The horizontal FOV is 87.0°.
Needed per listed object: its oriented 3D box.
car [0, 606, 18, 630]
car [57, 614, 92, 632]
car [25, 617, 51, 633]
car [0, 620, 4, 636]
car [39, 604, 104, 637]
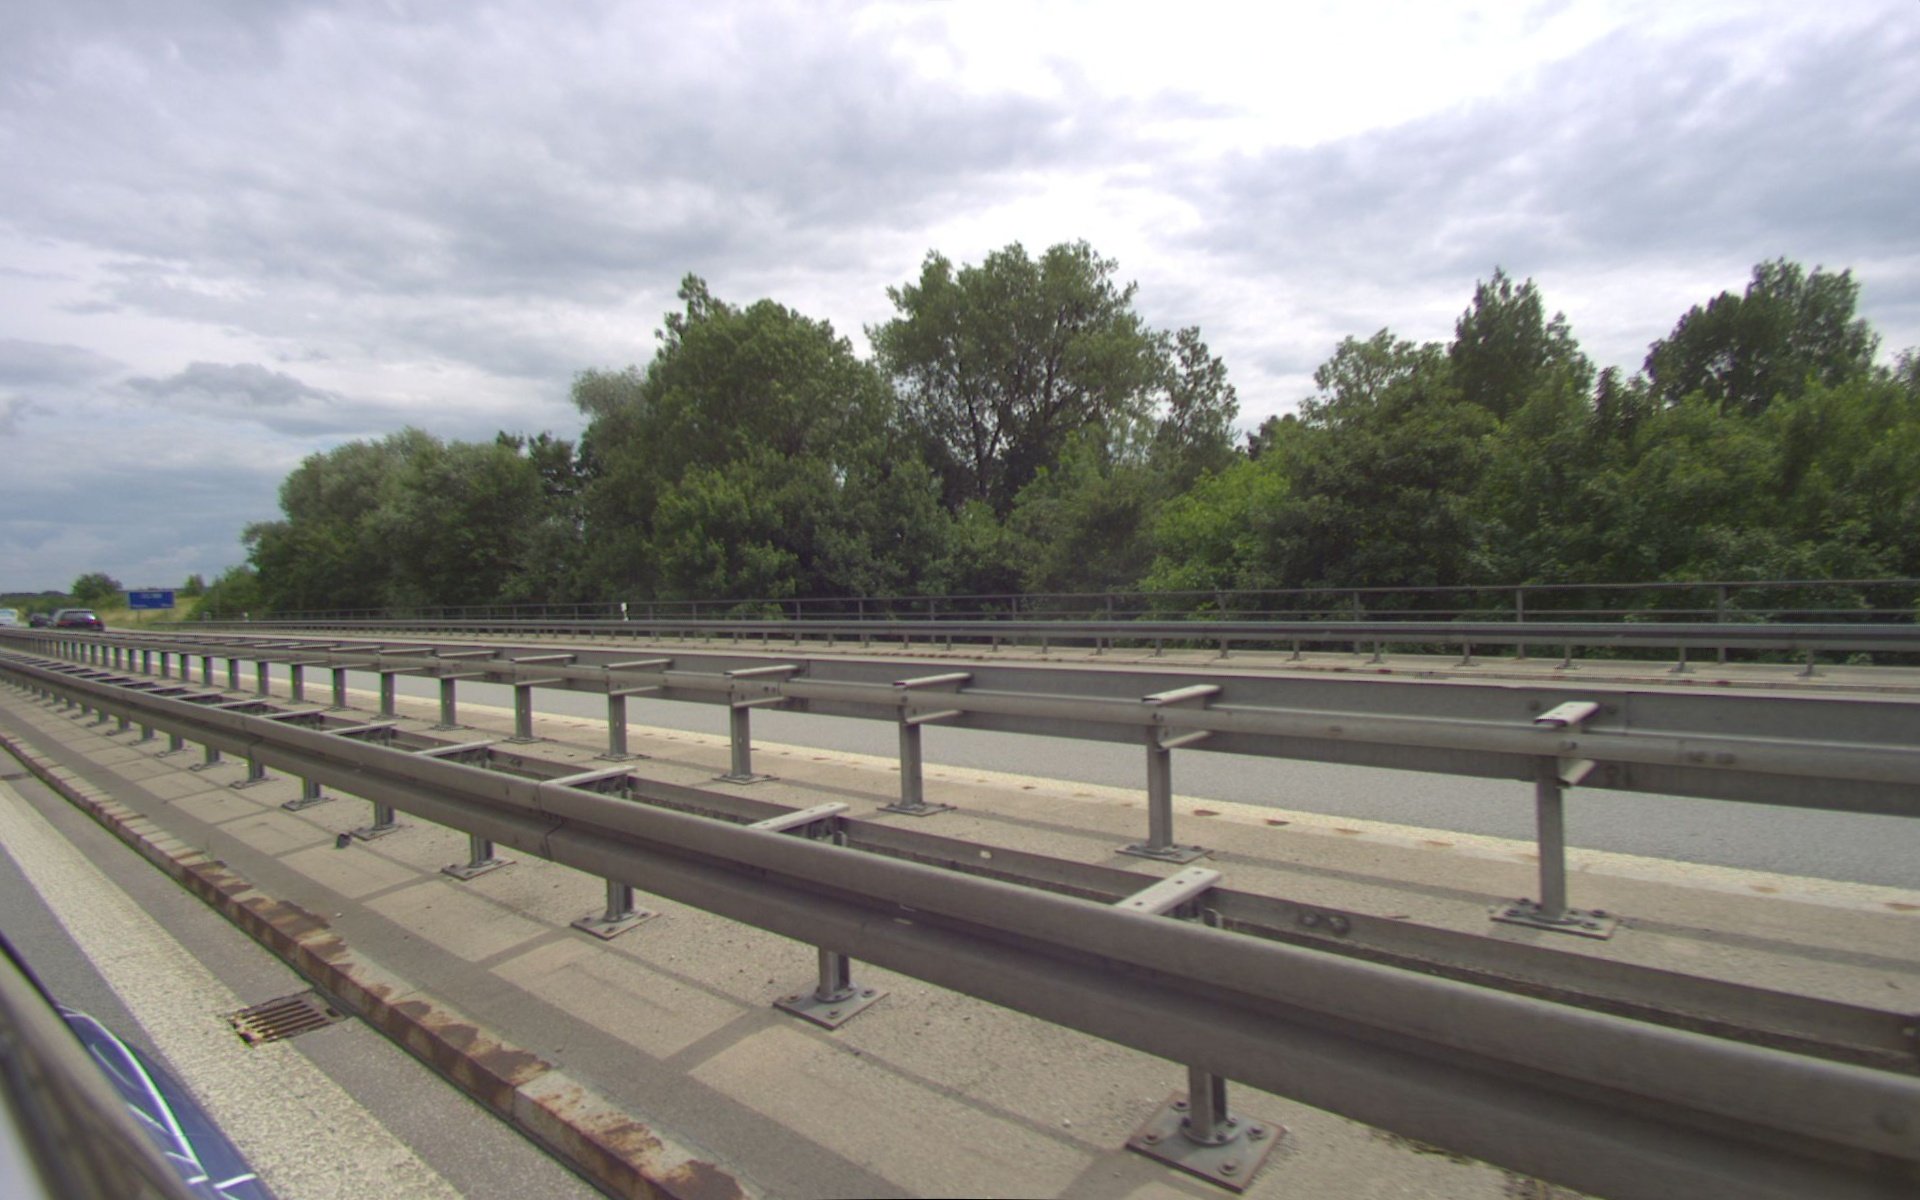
[{"bbox_3d":[-82.577,1.576,87.068,4.713,1.925,1.753,-1,2,42],"label":"car"},{"bbox_3d":[-72.642,1.885,83.019,3.936,1.449,1.825,-1,0,43],"label":"car"},{"bbox_3d":[-93.880,2.510,103.036,4.333,1.571,1.710,-1,0,45],"label":"car"},{"bbox_3d":[-101.028,2.925,105.410,4.947,1.624,1.825,0,1,43],"label":"car"},{"bbox_3d":[-40.135,0.927,45.689,4.356,1.386,1.668,-1,0,41],"label":"car"}]
